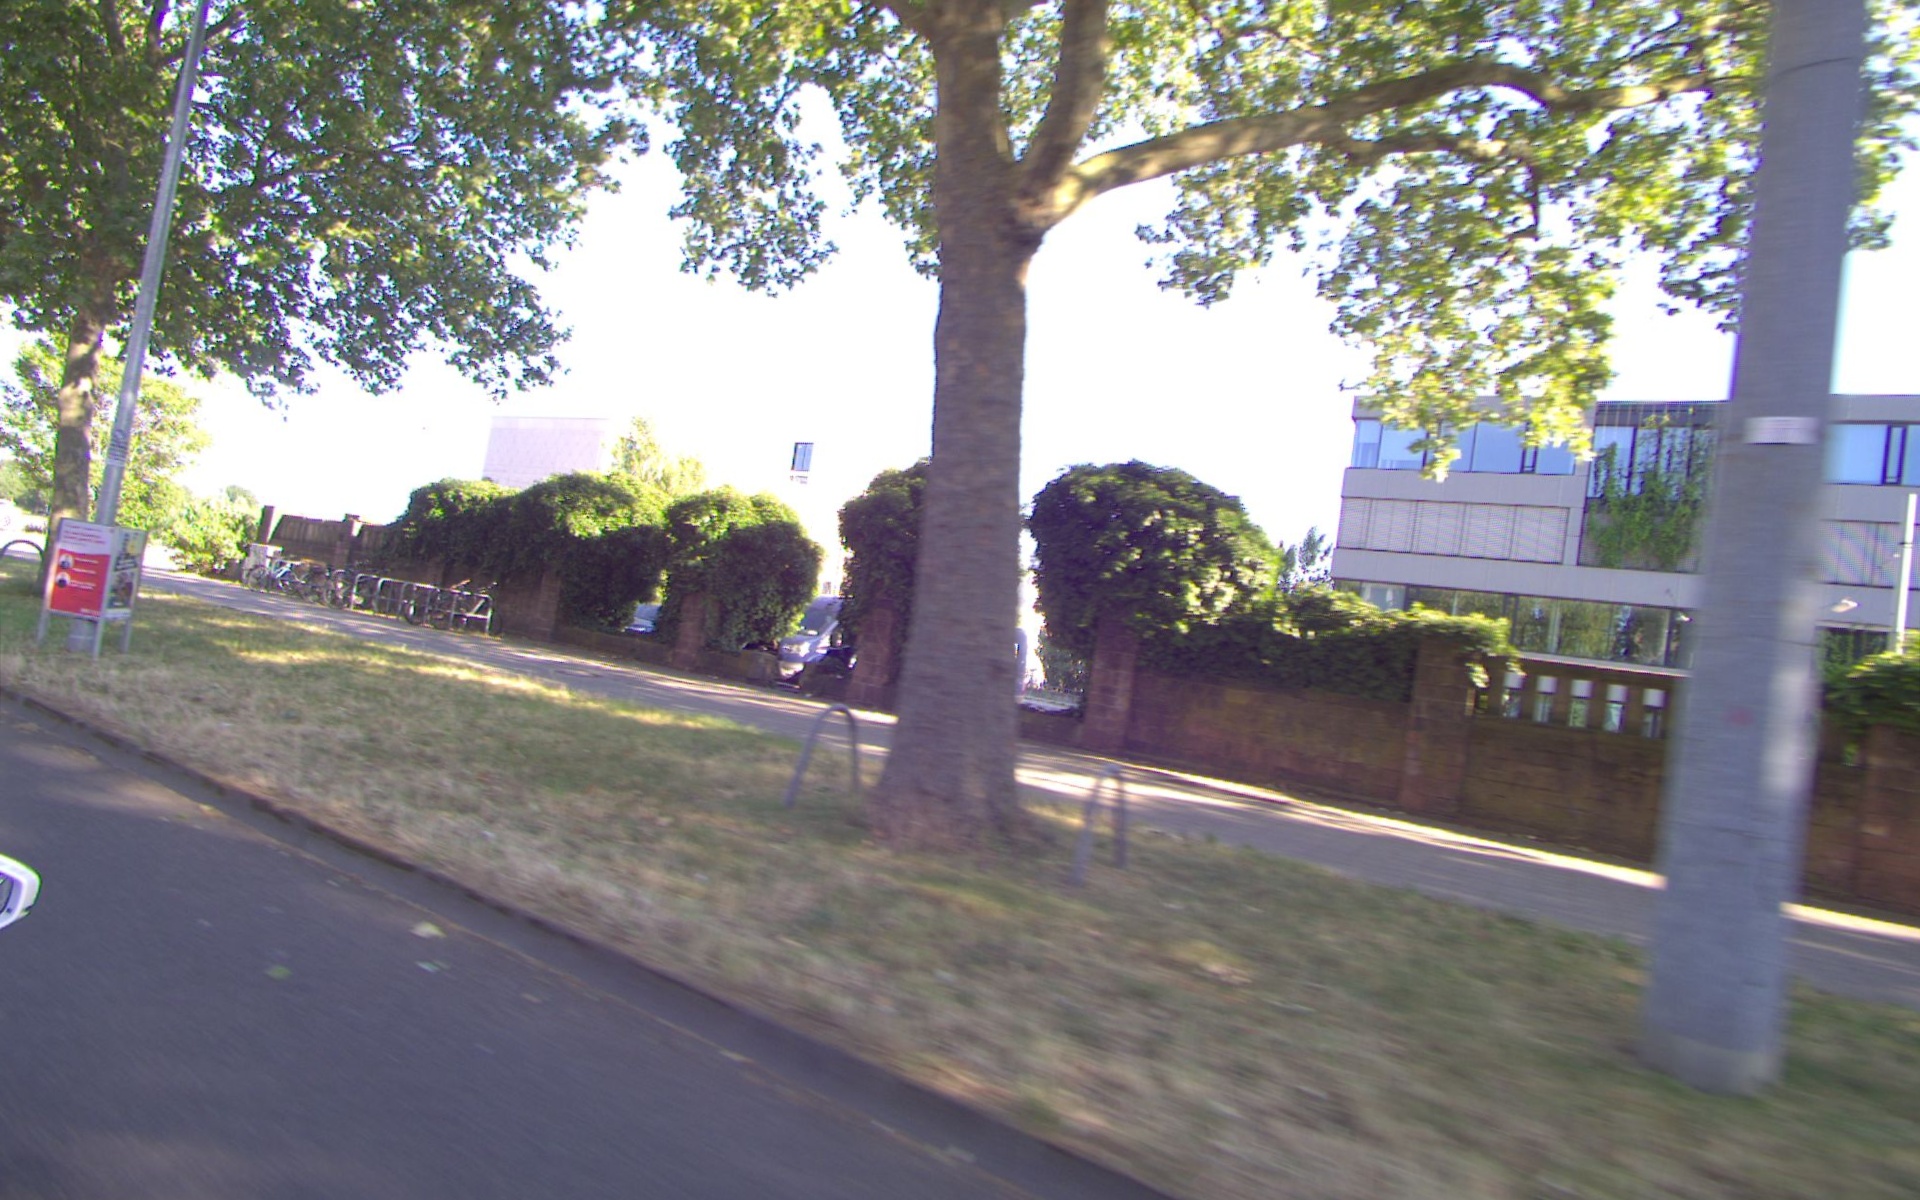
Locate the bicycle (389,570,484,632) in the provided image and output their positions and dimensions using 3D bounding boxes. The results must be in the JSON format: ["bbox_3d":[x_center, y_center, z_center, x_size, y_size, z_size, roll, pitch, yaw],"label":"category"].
[{"bbox_3d":[-11.577,0.041,22.309,0.432,1.133,1.777,7,-2,31],"label":"bicycle"}]

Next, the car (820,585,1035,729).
[{"bbox_3d":[-0.537,1.430,22.857,1.967,2.515,5.479,7,-4,31],"label":"car"}]

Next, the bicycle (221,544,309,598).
[{"bbox_3d":[-17.905,-0.729,25.957,0.431,1.133,1.779,7,-2,25],"label":"bicycle"}]

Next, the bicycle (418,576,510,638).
[{"bbox_3d":[-10.697,0.172,21.753,0.432,1.133,1.691,7,-2,31],"label":"bicycle"}]

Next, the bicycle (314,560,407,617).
[{"bbox_3d":[-14.176,-0.253,23.844,0.432,1.133,1.777,7,-2,31],"label":"bicycle"}]

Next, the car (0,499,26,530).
[{"bbox_3d":[-61.724,-5.716,62.878,1.888,1.676,4.467,7,-4,36],"label":"car"}]

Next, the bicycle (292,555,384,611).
[{"bbox_3d":[-15.067,-0.396,24.417,0.432,1.133,1.777,7,-2,31],"label":"bicycle"}]

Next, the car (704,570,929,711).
[{"bbox_3d":[-3.187,1.076,23.796,1.967,2.515,5.479,7,-4,31],"label":"car"}]

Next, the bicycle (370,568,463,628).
[{"bbox_3d":[-12.324,-0.032,22.873,0.432,1.133,1.777,7,-2,31],"label":"bicycle"}]

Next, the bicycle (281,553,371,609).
[{"bbox_3d":[-15.821,-0.456,25.154,0.432,1.133,1.777,7,-2,31],"label":"bicycle"}]
